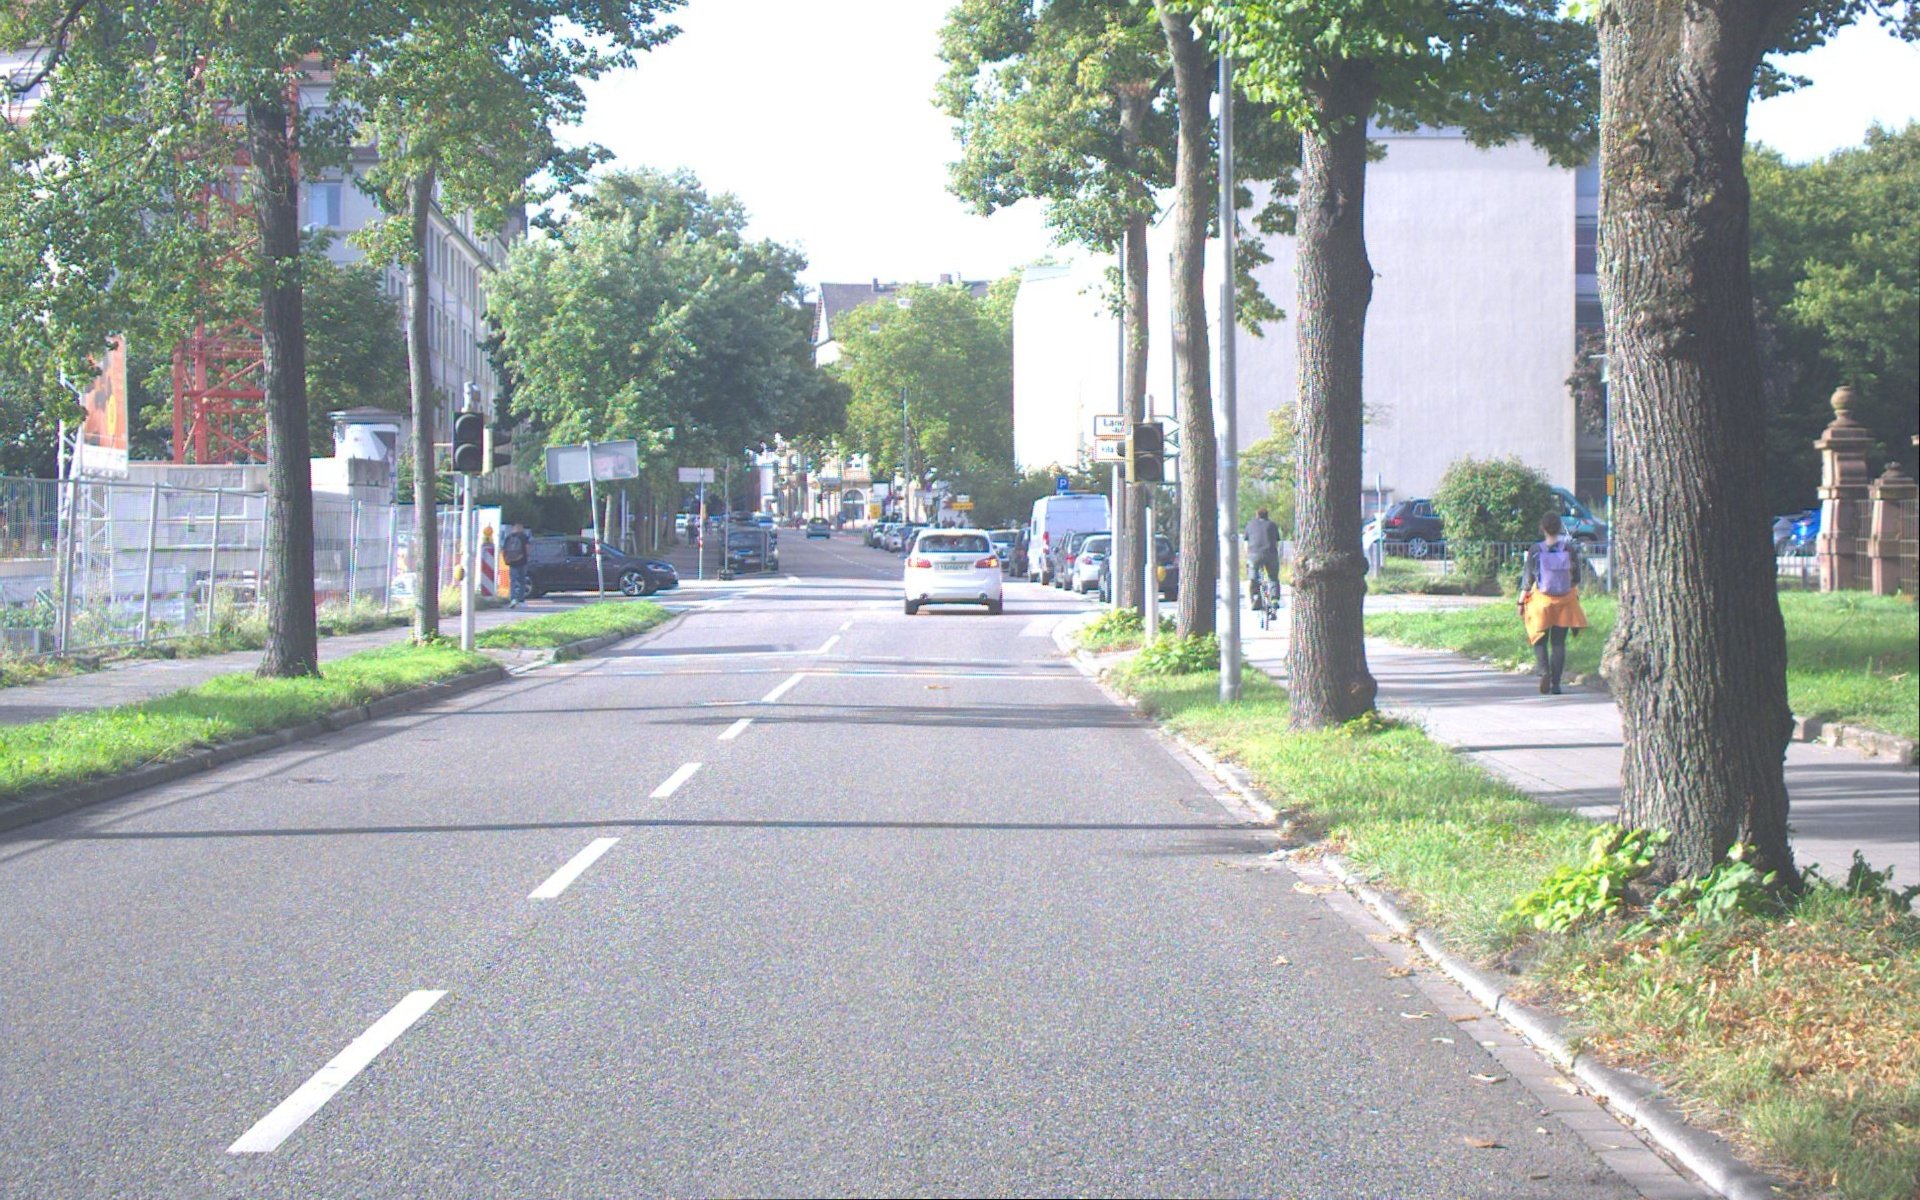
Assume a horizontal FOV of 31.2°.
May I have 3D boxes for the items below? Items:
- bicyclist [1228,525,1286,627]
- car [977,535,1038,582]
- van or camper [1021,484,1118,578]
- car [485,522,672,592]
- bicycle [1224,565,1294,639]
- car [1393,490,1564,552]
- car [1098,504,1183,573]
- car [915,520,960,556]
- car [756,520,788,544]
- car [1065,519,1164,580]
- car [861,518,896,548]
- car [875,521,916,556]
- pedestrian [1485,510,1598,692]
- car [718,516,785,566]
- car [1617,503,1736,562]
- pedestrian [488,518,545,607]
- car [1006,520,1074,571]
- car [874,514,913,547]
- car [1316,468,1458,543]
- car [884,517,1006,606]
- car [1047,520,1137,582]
[{"bbox_3d":[4.498,-0.371,52.128,0.737,1.508,0.875,-2,1,-1],"label":"bicyclist"},{"bbox_3d":[1.643,-1.475,120.805,1.993,1.568,4.001,-1,1,-1],"label":"car"},{"bbox_3d":[3.125,-2.004,99.301,2.209,2.598,5.373,-1,1,-4],"label":"van or camper"},{"bbox_3d":[-8.920,-1.028,80.588,3.988,1.565,2.000,1,1,8],"label":"car"},{"bbox_3d":[4.508,0.019,51.977,0.740,1.031,2.762,-2,1,-1],"label":"bicycle"},{"bbox_3d":[14.219,-2.181,94.489,4.449,1.616,2.000,-1,1,3],"label":"car"},{"bbox_3d":[3.995,-1.364,76.589,1.717,1.491,4.268,-1,1,1],"label":"car"},{"bbox_3d":[-1.042,-2.855,157.740,1.993,1.568,4.001,-1,1,-1],"label":"car"},{"bbox_3d":[-13.569,-4.926,247.689,2.055,1.658,3.927,-1,2,-7],"label":"car"},{"bbox_3d":[3.922,-1.283,88.020,2.015,1.470,4.803,-1,1,-3],"label":"car"},{"bbox_3d":[-4.926,-4.048,207.519,1.993,1.749,4.000,1,1,0],"label":"car"},{"bbox_3d":[-3.293,-3.150,176.241,1.993,1.749,4.000,1,1,0],"label":"car"},{"bbox_3d":[5.216,0.004,30.885,0.814,1.585,0.769,-2,1,-1],"label":"pedestrian"},{"bbox_3d":[-7.029,-2.010,115.668,1.993,1.634,4.001,-1,1,-7],"label":"car"},{"bbox_3d":[18.333,-1.736,88.120,1.993,1.437,4.001,-1,1,-3],"label":"car"},{"bbox_3d":[-8.722,-0.737,67.638,1.006,1.722,1.178,0,0,-12],"label":"pedestrian"},{"bbox_3d":[2.549,-1.767,110.240,1.993,1.568,4.001,-1,1,-1],"label":"car"},{"bbox_3d":[-3.606,-3.758,186.946,1.993,1.749,4.000,1,1,0],"label":"car"},{"bbox_3d":[12.880,-2.861,103.941,4.120,2.178,2.000,-1,1,3],"label":"car"},{"bbox_3d":[-0.319,-0.727,63.729,1.993,1.549,4.275,1,1,-3],"label":"car"},{"bbox_3d":[3.547,-1.349,93.278,1.993,1.610,4.409,-1,1,-3],"label":"car"}]
